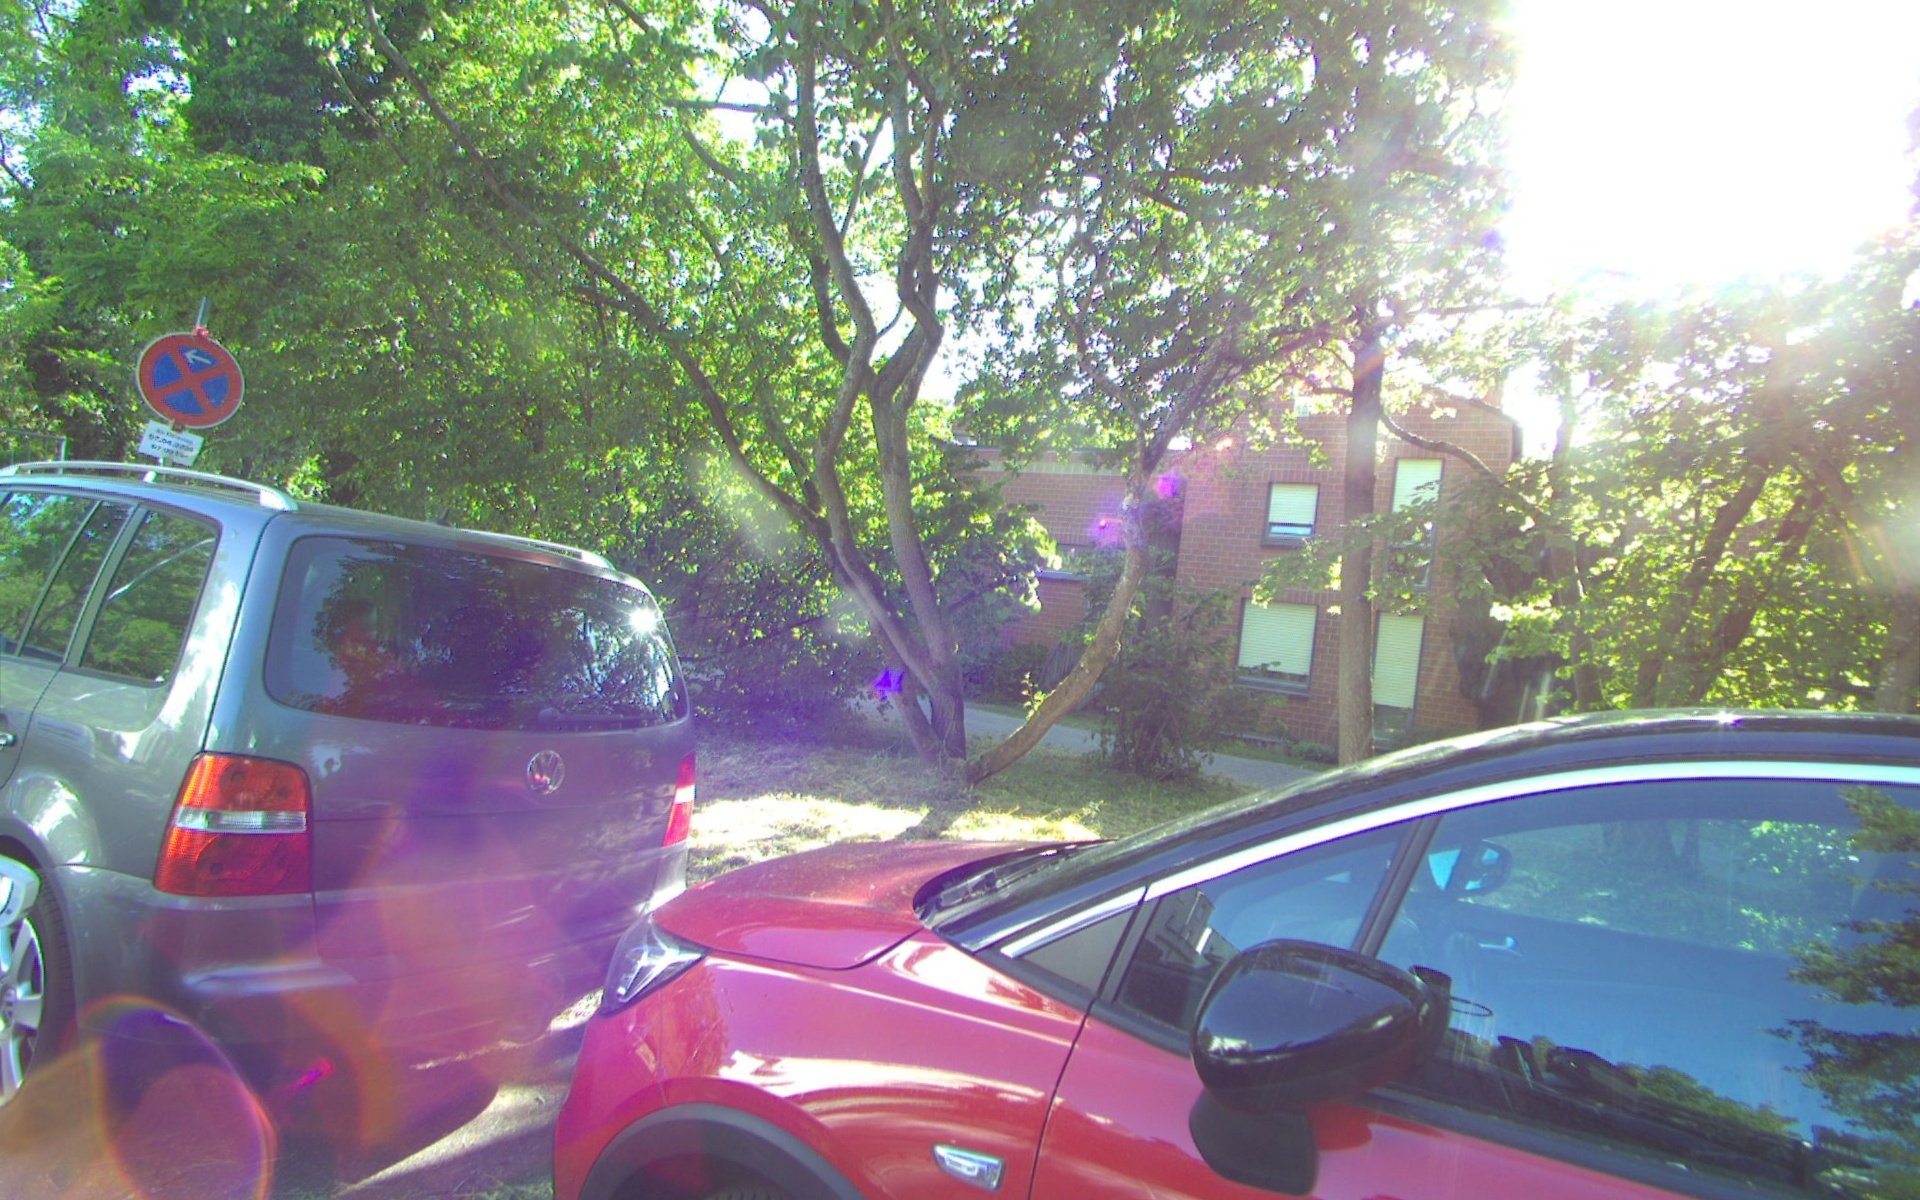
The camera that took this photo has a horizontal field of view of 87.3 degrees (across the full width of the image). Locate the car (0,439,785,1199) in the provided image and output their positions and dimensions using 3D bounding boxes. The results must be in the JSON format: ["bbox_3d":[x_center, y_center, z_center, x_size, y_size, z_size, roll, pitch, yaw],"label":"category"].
[{"bbox_3d":[-2.848,0.415,3.662,4.067,1.640,1.683,7,-2,30],"label":"car"}]

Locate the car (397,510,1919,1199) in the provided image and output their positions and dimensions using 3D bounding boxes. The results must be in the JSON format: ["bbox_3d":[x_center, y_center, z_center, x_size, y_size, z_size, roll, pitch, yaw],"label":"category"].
[{"bbox_3d":[1.131,0.913,1.532,3.999,1.592,1.682,7,-2,32],"label":"car"}]

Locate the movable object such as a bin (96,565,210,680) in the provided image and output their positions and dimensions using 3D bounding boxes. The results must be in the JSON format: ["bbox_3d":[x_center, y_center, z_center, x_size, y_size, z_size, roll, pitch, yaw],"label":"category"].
[{"bbox_3d":[-6.759,0.193,8.434,0.550,0.871,0.485,7,-1,28],"label":"movable object such as a bin"}]
